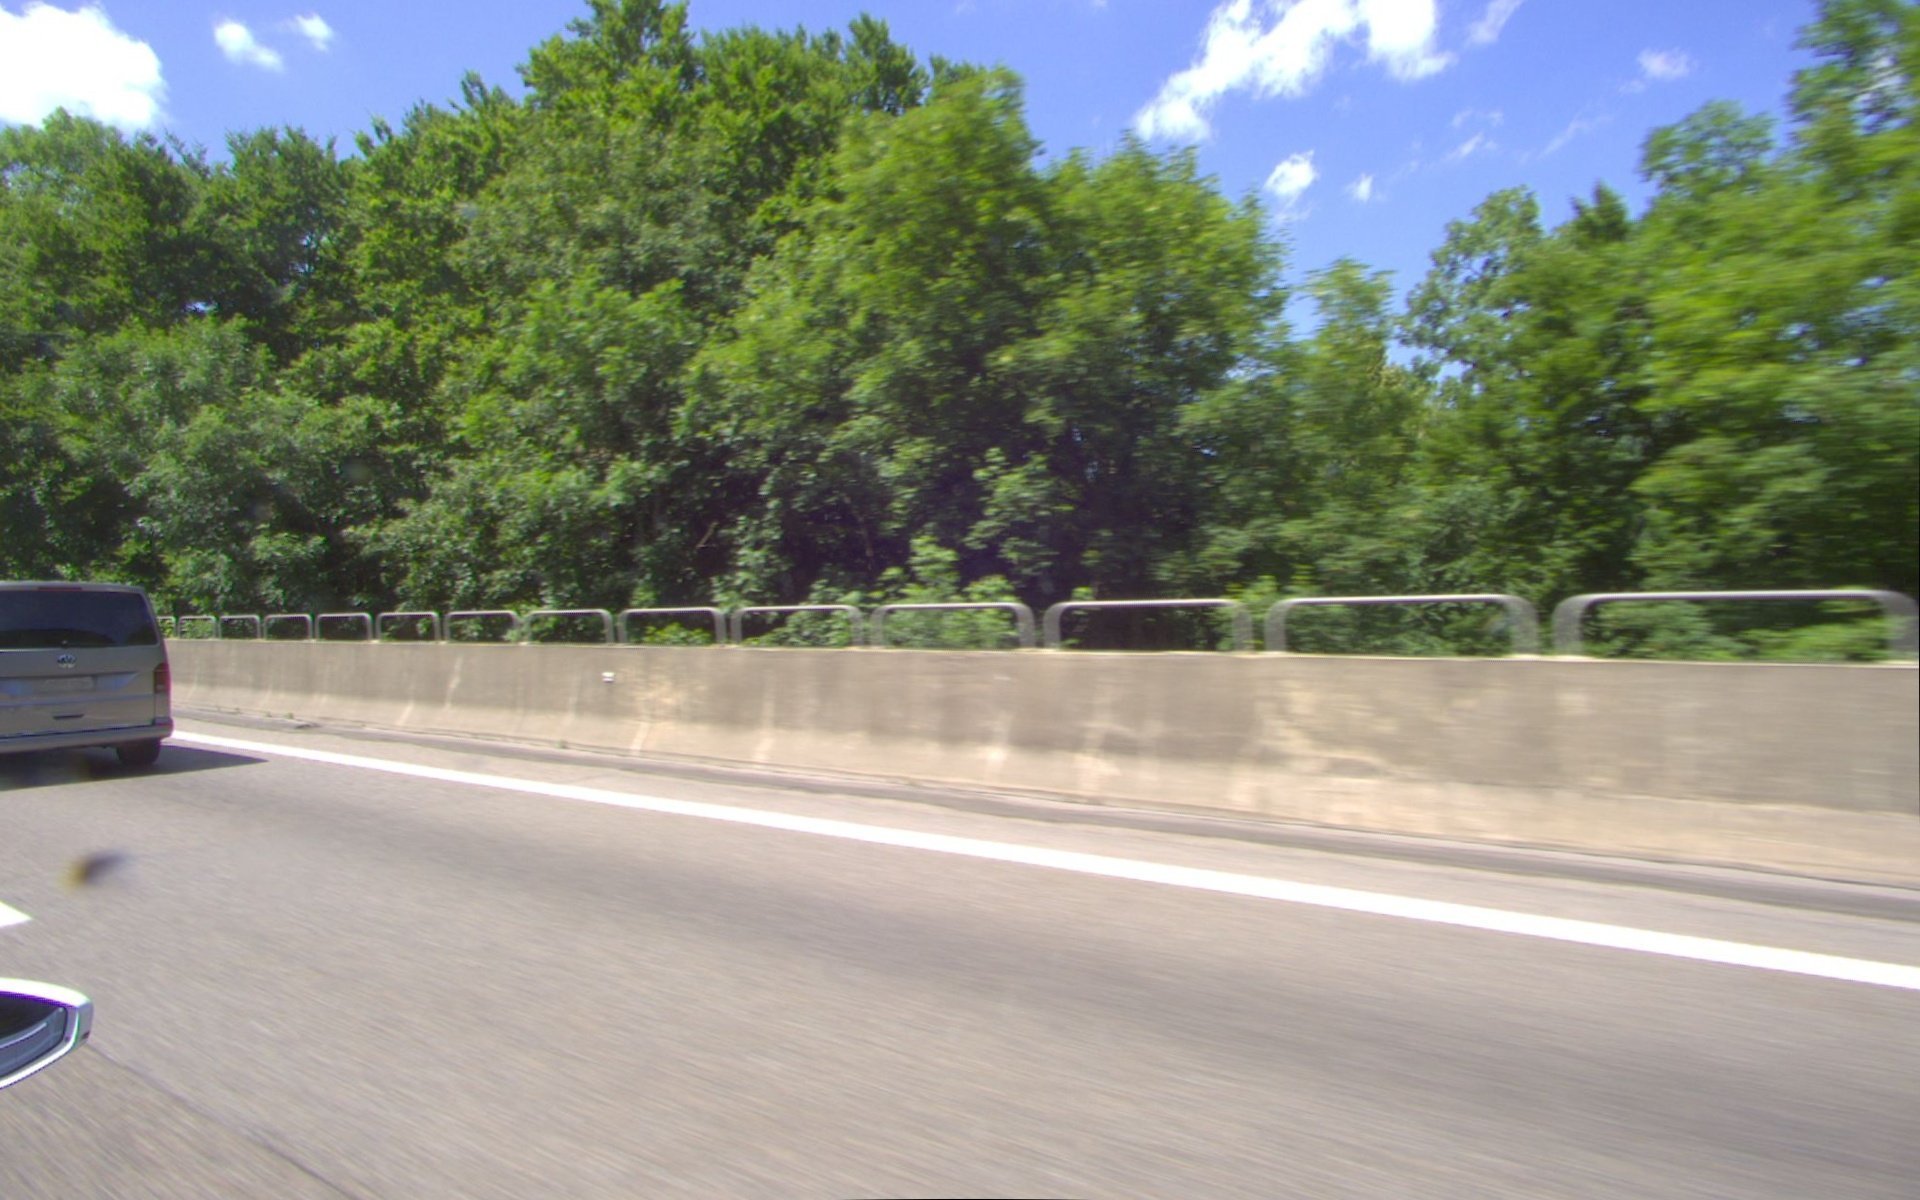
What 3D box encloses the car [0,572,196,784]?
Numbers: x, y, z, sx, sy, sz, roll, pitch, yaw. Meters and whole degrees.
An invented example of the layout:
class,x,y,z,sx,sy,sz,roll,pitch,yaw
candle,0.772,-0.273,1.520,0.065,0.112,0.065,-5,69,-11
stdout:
class,x,y,z,sx,sy,sz,roll,pitch,yaw
car,-10.460,0.772,10.952,4.629,1.956,1.936,-1,-1,34
